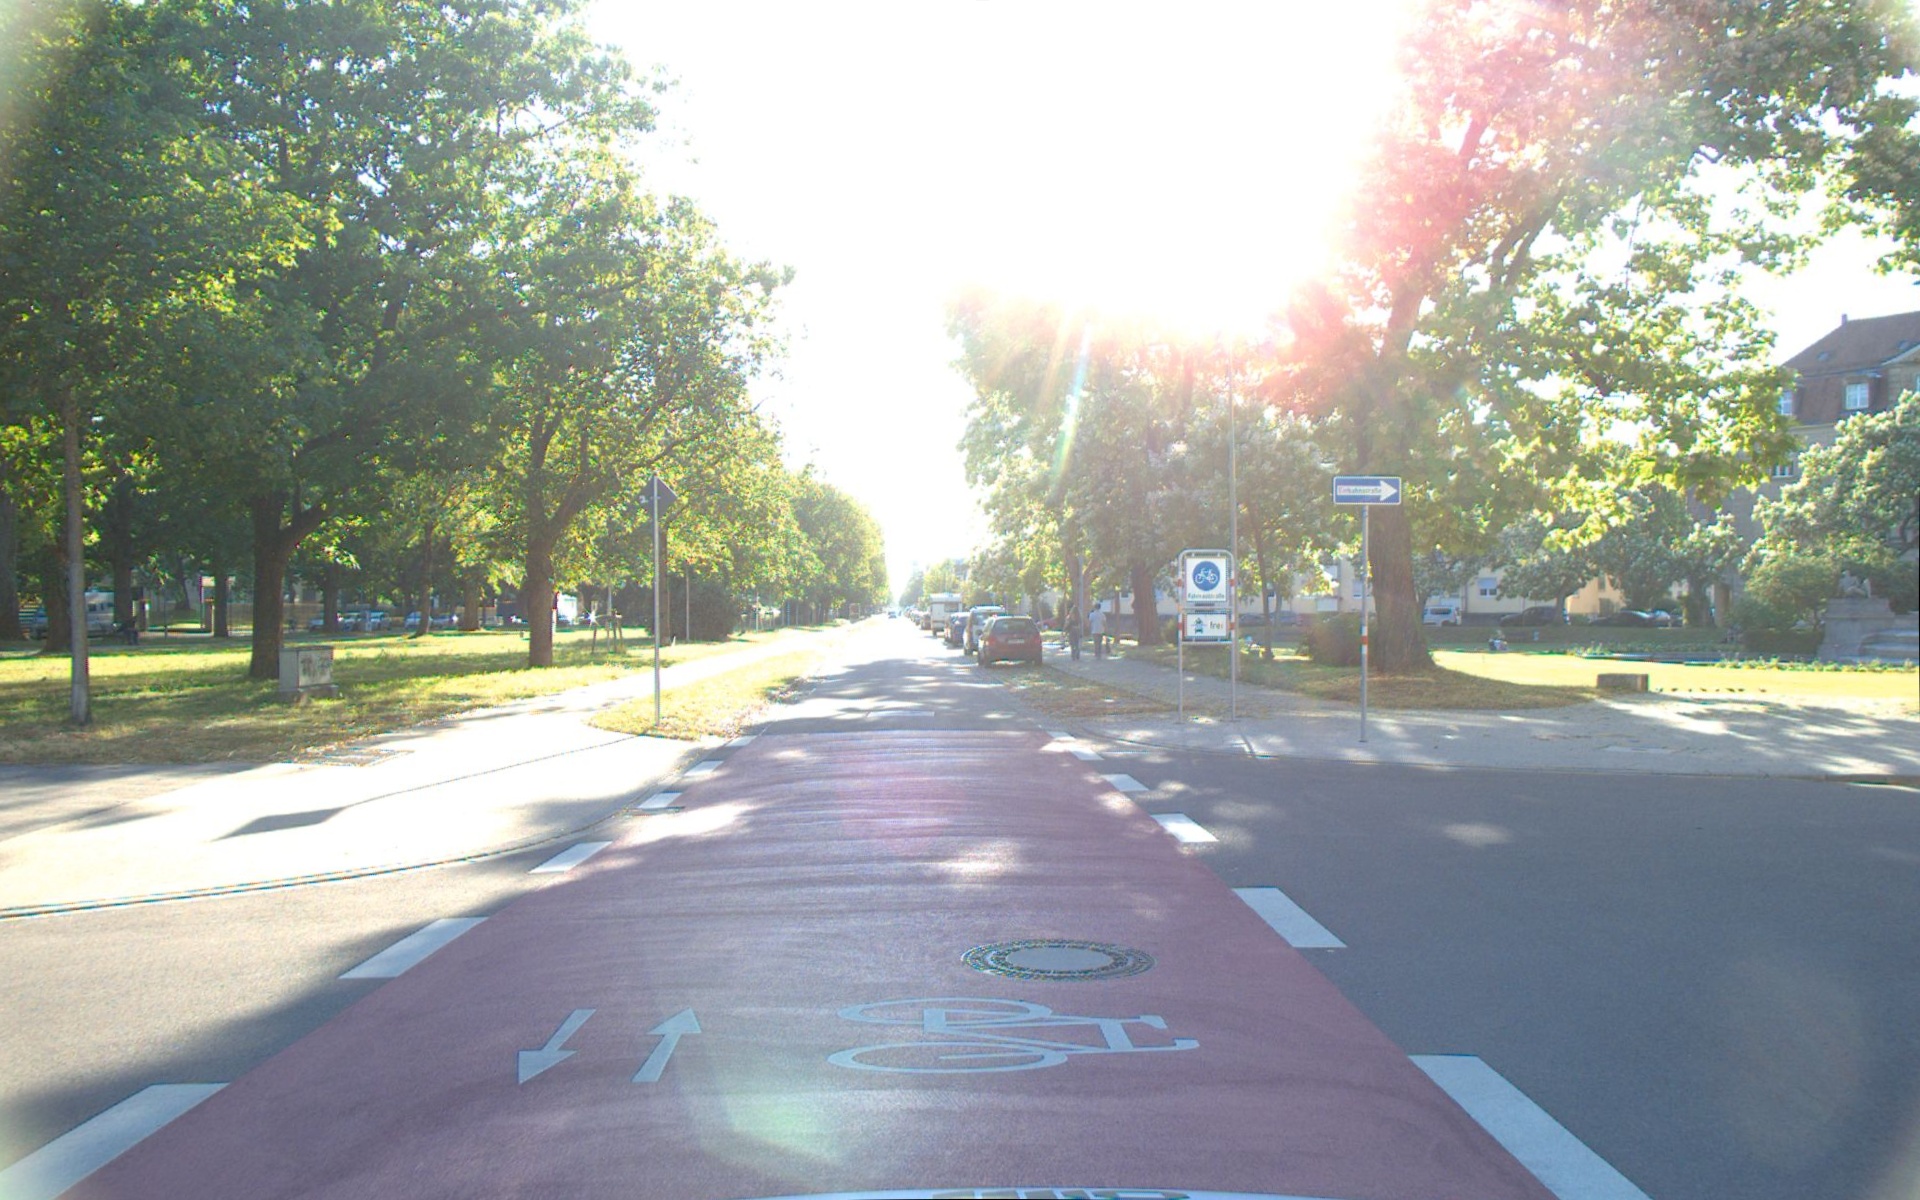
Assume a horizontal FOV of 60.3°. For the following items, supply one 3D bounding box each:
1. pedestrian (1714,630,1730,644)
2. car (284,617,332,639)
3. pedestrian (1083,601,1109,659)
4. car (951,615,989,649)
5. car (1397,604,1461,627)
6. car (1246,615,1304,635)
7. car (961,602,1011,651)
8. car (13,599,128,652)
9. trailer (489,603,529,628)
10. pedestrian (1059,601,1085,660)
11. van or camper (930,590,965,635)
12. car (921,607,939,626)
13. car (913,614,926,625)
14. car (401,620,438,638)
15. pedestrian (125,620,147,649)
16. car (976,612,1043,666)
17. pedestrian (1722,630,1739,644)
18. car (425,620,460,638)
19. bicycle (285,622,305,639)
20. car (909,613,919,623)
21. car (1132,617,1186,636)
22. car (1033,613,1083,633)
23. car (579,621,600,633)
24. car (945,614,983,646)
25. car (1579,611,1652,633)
[{"bbox_3d":[45.227,2.176,98.156,0.575,0.808,0.665,0,-1,-13],"label":"pedestrian"},{"bbox_3d":[-46.834,1.987,118.892,1.953,1.534,3.998,-1,-1,-1],"label":"car"},{"bbox_3d":[4.161,0.919,50.572,0.710,1.766,0.731,1,-1,-2],"label":"pedestrian"},{"bbox_3d":[0.448,1.513,78.664,1.696,1.578,4.274,-1,-1,-1],"label":"car"},{"bbox_3d":[36.725,1.219,129.543,4.430,1.776,1.875,-1,-1,33],"label":"car"},{"bbox_3d":[25.734,2.027,135.076,4.416,1.597,1.881,-1,-1,17],"label":"car"},{"bbox_3d":[0.970,1.022,63.268,1.644,1.770,4.511,-1,-1,-3],"label":"car"},{"bbox_3d":[-44.583,1.288,83.077,2.667,2.507,6.313,-1,-1,-3],"label":"car"},{"bbox_3d":[-47.857,1.689,175.620,2.409,2.532,7.047,-1,-1,-1],"label":"trailer"},{"bbox_3d":[3.419,0.927,50.518,0.738,1.766,0.731,1,-1,-2],"label":"pedestrian"},{"bbox_3d":[-0.927,0.912,116.181,2.189,2.955,5.669,-1,-2,-3],"label":"van or camper"},{"bbox_3d":[-2.880,1.568,157.416,1.594,1.698,4.247,-1,-1,-3],"label":"car"},{"bbox_3d":[-5.144,2.489,211.144,1.594,1.434,4.247,-1,-1,-3],"label":"car"},{"bbox_3d":[-46.427,2.470,142.129,1.953,1.534,4.113,-1,-1,-1],"label":"car"},{"bbox_3d":[-29.577,1.241,59.386,0.538,1.004,0.609,0,-1,-7],"label":"pedestrian"},{"bbox_3d":[1.434,1.159,49.335,1.644,1.512,4.806,-1,-1,-3],"label":"car"},{"bbox_3d":[45.383,2.183,97.428,0.575,0.808,0.665,0,-1,-13],"label":"pedestrian"},{"bbox_3d":[-46.696,2.607,149.325,1.953,1.534,4.113,-1,-1,-1],"label":"car"},{"bbox_3d":[-47.491,2.146,118.123,0.644,1.196,2.331,-1,-1,-5],"label":"bicycle"},{"bbox_3d":[-7.197,2.834,258.633,1.594,1.434,4.247,-1,-1,-3],"label":"car"},{"bbox_3d":[15.809,2.099,131.302,4.105,1.488,1.694,-1,-1,13],"label":"car"},{"bbox_3d":[8.172,1.934,138.442,4.108,1.557,2.000,-1,-1,2],"label":"car"},{"bbox_3d":[-49.173,3.551,219.660,1.953,1.534,4.113,-1,-1,-1],"label":"car"},{"bbox_3d":[0.175,1.560,84.908,1.697,1.578,4.419,-1,-1,-3],"label":"car"},{"bbox_3d":[45.146,1.504,113.994,1.863,1.478,4.304,0,-1,-40],"label":"car"}]
